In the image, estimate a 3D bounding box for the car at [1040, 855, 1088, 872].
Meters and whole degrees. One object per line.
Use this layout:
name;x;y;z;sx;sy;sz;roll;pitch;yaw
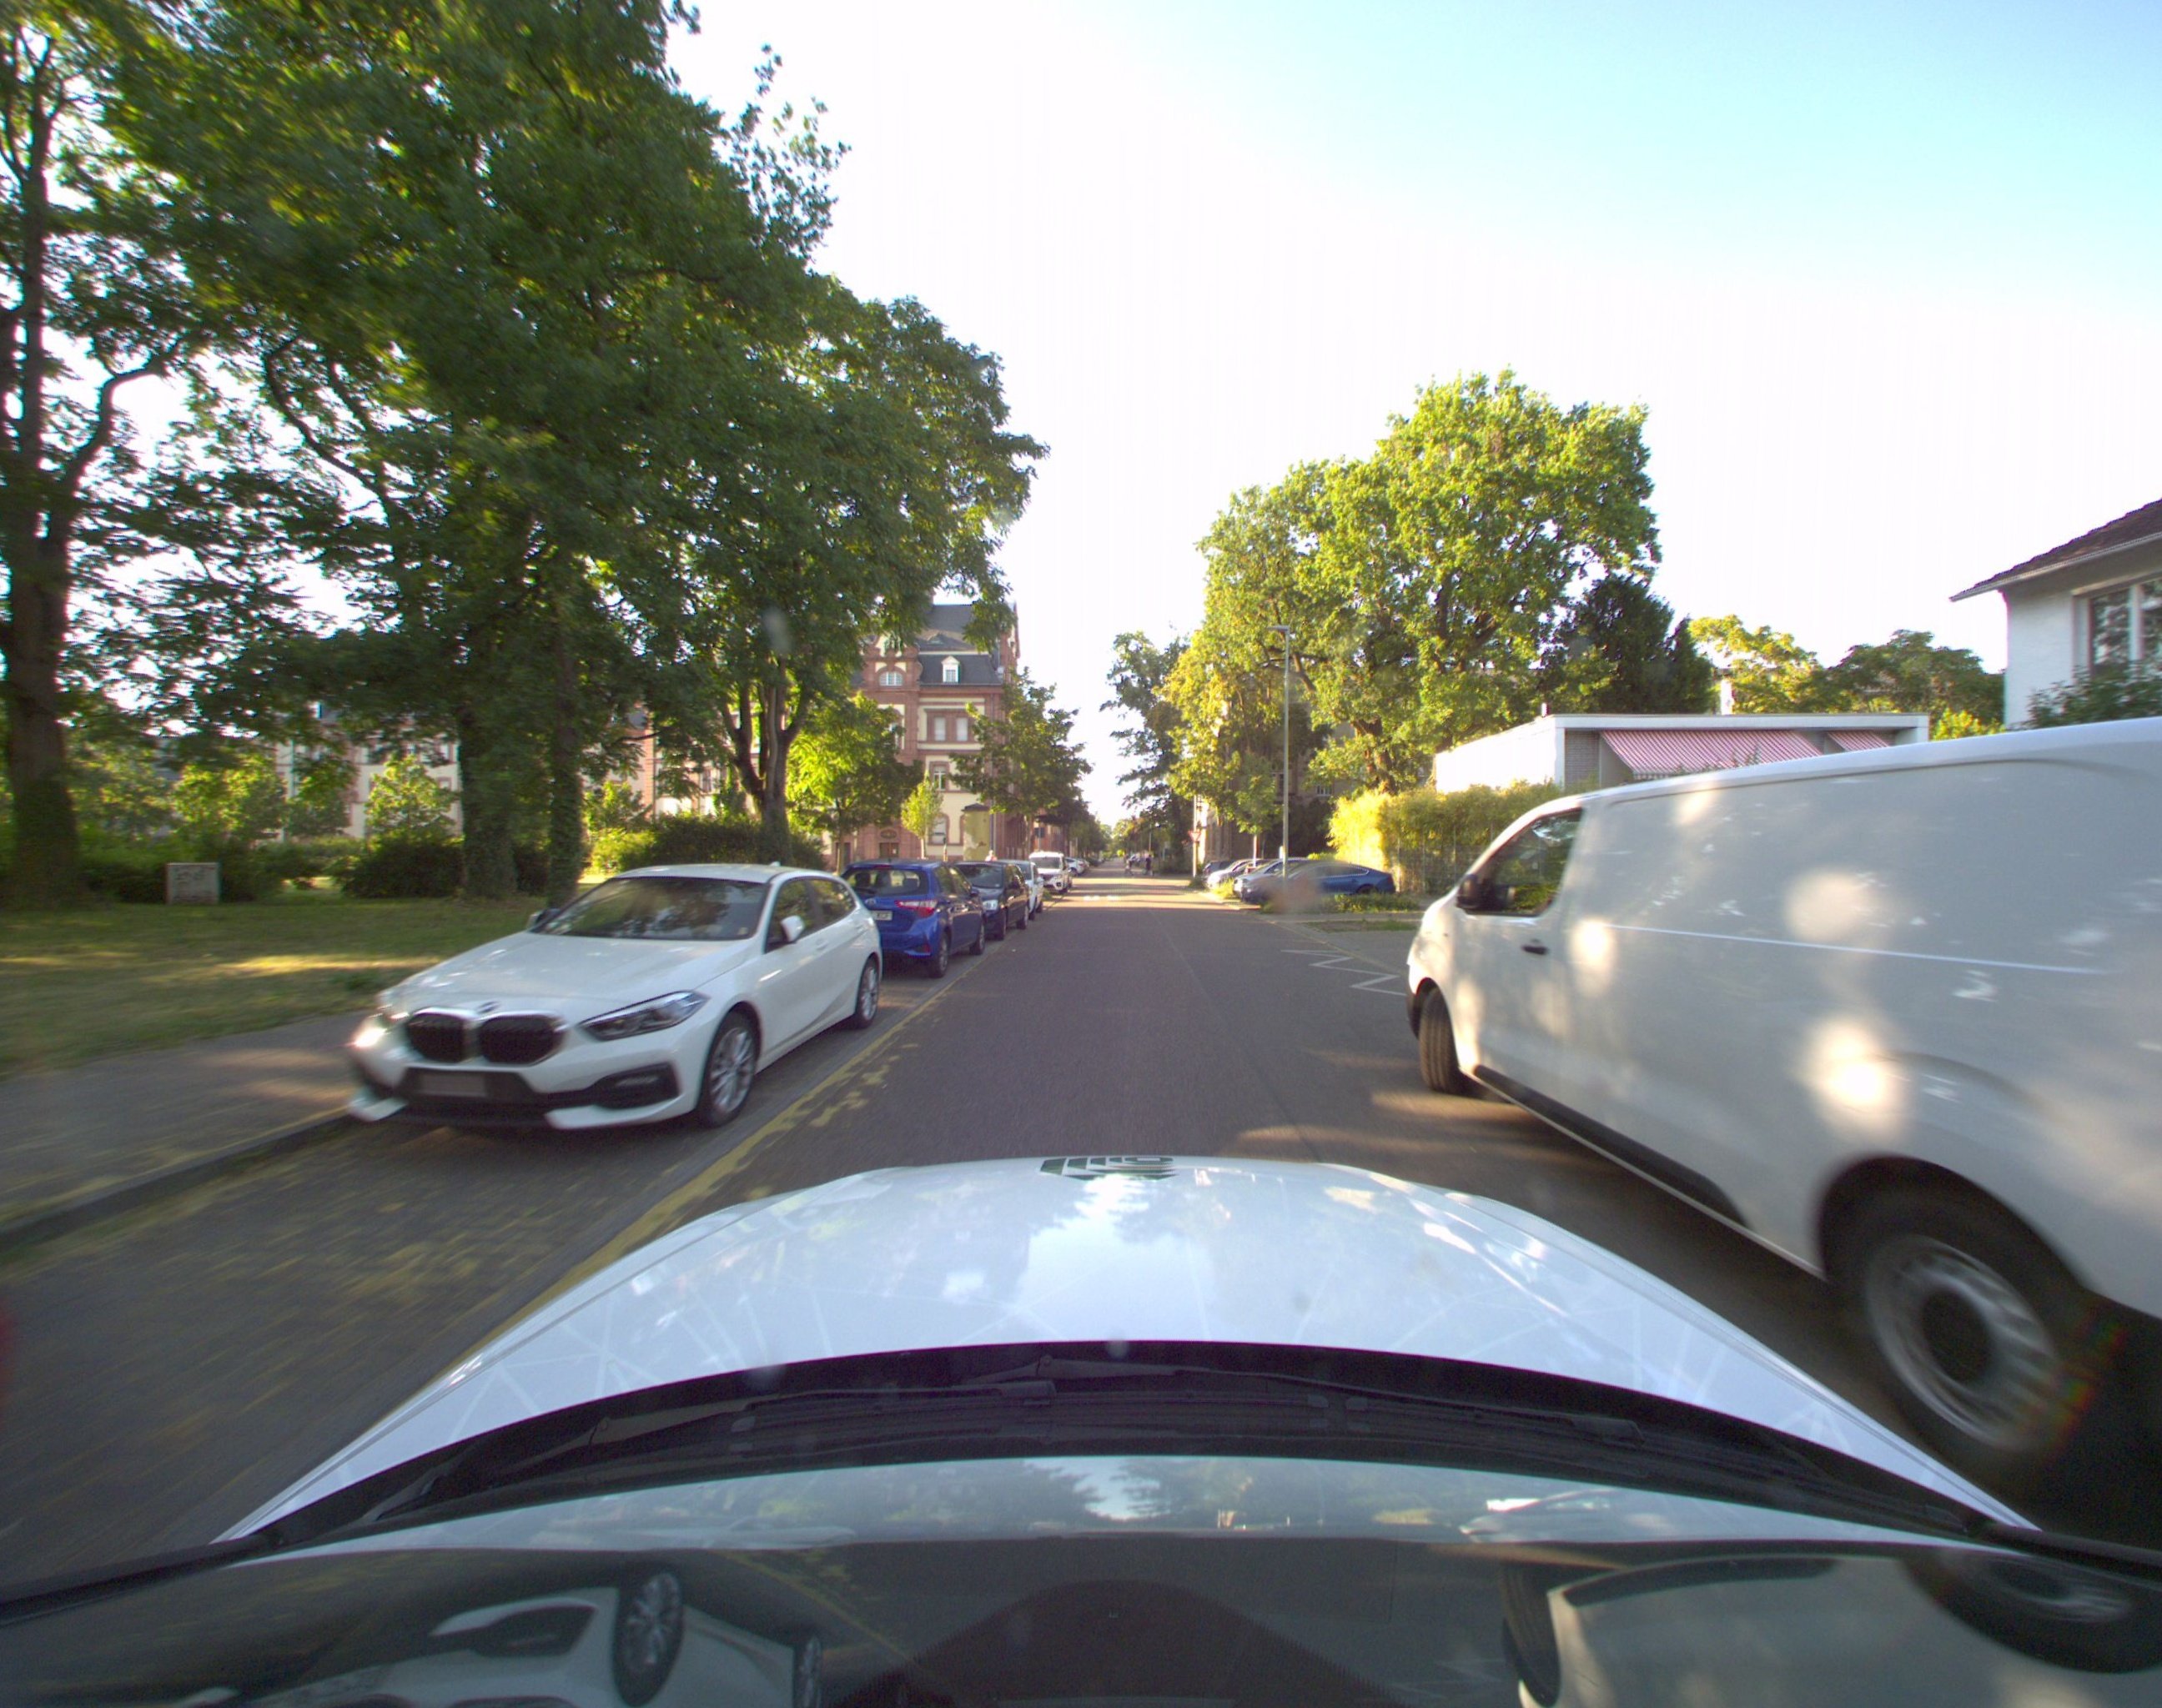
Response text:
car;-1.610;0.903;78.284;4.468;1.608;1.842;1;0;0

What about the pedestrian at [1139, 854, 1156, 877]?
pedestrian;5.520;0.945;67.513;1.067;1.858;0.993;1;-1;-29

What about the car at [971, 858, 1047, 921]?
car;-1.830;0.879;21.777;1.586;1.526;3.866;0;0;1

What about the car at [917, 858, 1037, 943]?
car;-1.974;0.840;16.507;1.544;1.494;3.949;0;0;6

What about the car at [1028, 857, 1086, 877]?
car;-2.000;1.073;68.577;4.826;1.594;1.842;0;0;0

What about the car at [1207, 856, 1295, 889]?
car;8.033;0.863;38.758;3.935;1.516;1.677;0;0;5

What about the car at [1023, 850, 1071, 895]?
car;-1.438;0.750;35.816;1.774;1.841;4.554;0;0;2

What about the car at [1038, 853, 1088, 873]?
car;-1.598;0.802;73.336;4.468;1.717;1.842;0;0;0

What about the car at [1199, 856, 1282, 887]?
car;8.035;0.928;41.333;3.937;1.517;1.875;0;-3;3

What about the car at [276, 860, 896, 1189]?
car;-2.723;0.783;5.705;1.683;1.406;3.978;2;0;3

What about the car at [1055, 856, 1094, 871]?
car;-0.687;1.089;94.405;4.468;1.608;1.842;1;0;0

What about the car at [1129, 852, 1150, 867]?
car;13.945;1.357;194.319;4.868;3.618;1.843;0;-1;1

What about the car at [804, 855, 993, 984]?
car;-2.411;0.795;11.698;1.631;1.496;3.708;2;0;3

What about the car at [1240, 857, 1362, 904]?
car;7.446;0.881;27.765;3.671;1.524;1.791;0;0;-2

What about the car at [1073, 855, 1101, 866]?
car;0.929;1.055;129.825;4.468;1.608;1.842;1;0;0

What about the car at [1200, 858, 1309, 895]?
car;7.648;0.982;36.212;4.477;1.549;1.890;0;0;-1

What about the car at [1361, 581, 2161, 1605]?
car;3.146;0.478;3.875;1.946;2.013;5.154;0;0;1

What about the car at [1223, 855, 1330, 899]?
car;7.190;0.838;30.151;3.491;1.584;1.757;0;0;-8

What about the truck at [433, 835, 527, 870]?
truck;-54.383;-0.134;73.687;7.920;3.029;2.624;0;0;17

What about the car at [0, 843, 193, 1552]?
car;-2.937;0.672;0.255;1.381;1.423;3.430;2;0;3

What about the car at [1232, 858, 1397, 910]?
car;7.126;0.908;25.196;4.569;1.415;1.924;-2;-1;3

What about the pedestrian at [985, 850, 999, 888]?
pedestrian;-4.248;0.715;38.870;0.597;1.784;0.946;0;0;-1

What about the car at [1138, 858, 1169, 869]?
car;10.833;1.454;121.260;4.468;1.608;1.842;1;0;0

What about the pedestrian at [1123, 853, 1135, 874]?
pedestrian;3.692;0.769;62.580;0.783;1.606;0.719;0;-2;-4

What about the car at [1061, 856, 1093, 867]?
car;-0.611;1.055;115.560;4.468;1.608;1.842;1;0;0

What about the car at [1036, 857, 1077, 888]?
car;-1.253;0.946;43.307;1.774;1.505;4.556;1;0;3
